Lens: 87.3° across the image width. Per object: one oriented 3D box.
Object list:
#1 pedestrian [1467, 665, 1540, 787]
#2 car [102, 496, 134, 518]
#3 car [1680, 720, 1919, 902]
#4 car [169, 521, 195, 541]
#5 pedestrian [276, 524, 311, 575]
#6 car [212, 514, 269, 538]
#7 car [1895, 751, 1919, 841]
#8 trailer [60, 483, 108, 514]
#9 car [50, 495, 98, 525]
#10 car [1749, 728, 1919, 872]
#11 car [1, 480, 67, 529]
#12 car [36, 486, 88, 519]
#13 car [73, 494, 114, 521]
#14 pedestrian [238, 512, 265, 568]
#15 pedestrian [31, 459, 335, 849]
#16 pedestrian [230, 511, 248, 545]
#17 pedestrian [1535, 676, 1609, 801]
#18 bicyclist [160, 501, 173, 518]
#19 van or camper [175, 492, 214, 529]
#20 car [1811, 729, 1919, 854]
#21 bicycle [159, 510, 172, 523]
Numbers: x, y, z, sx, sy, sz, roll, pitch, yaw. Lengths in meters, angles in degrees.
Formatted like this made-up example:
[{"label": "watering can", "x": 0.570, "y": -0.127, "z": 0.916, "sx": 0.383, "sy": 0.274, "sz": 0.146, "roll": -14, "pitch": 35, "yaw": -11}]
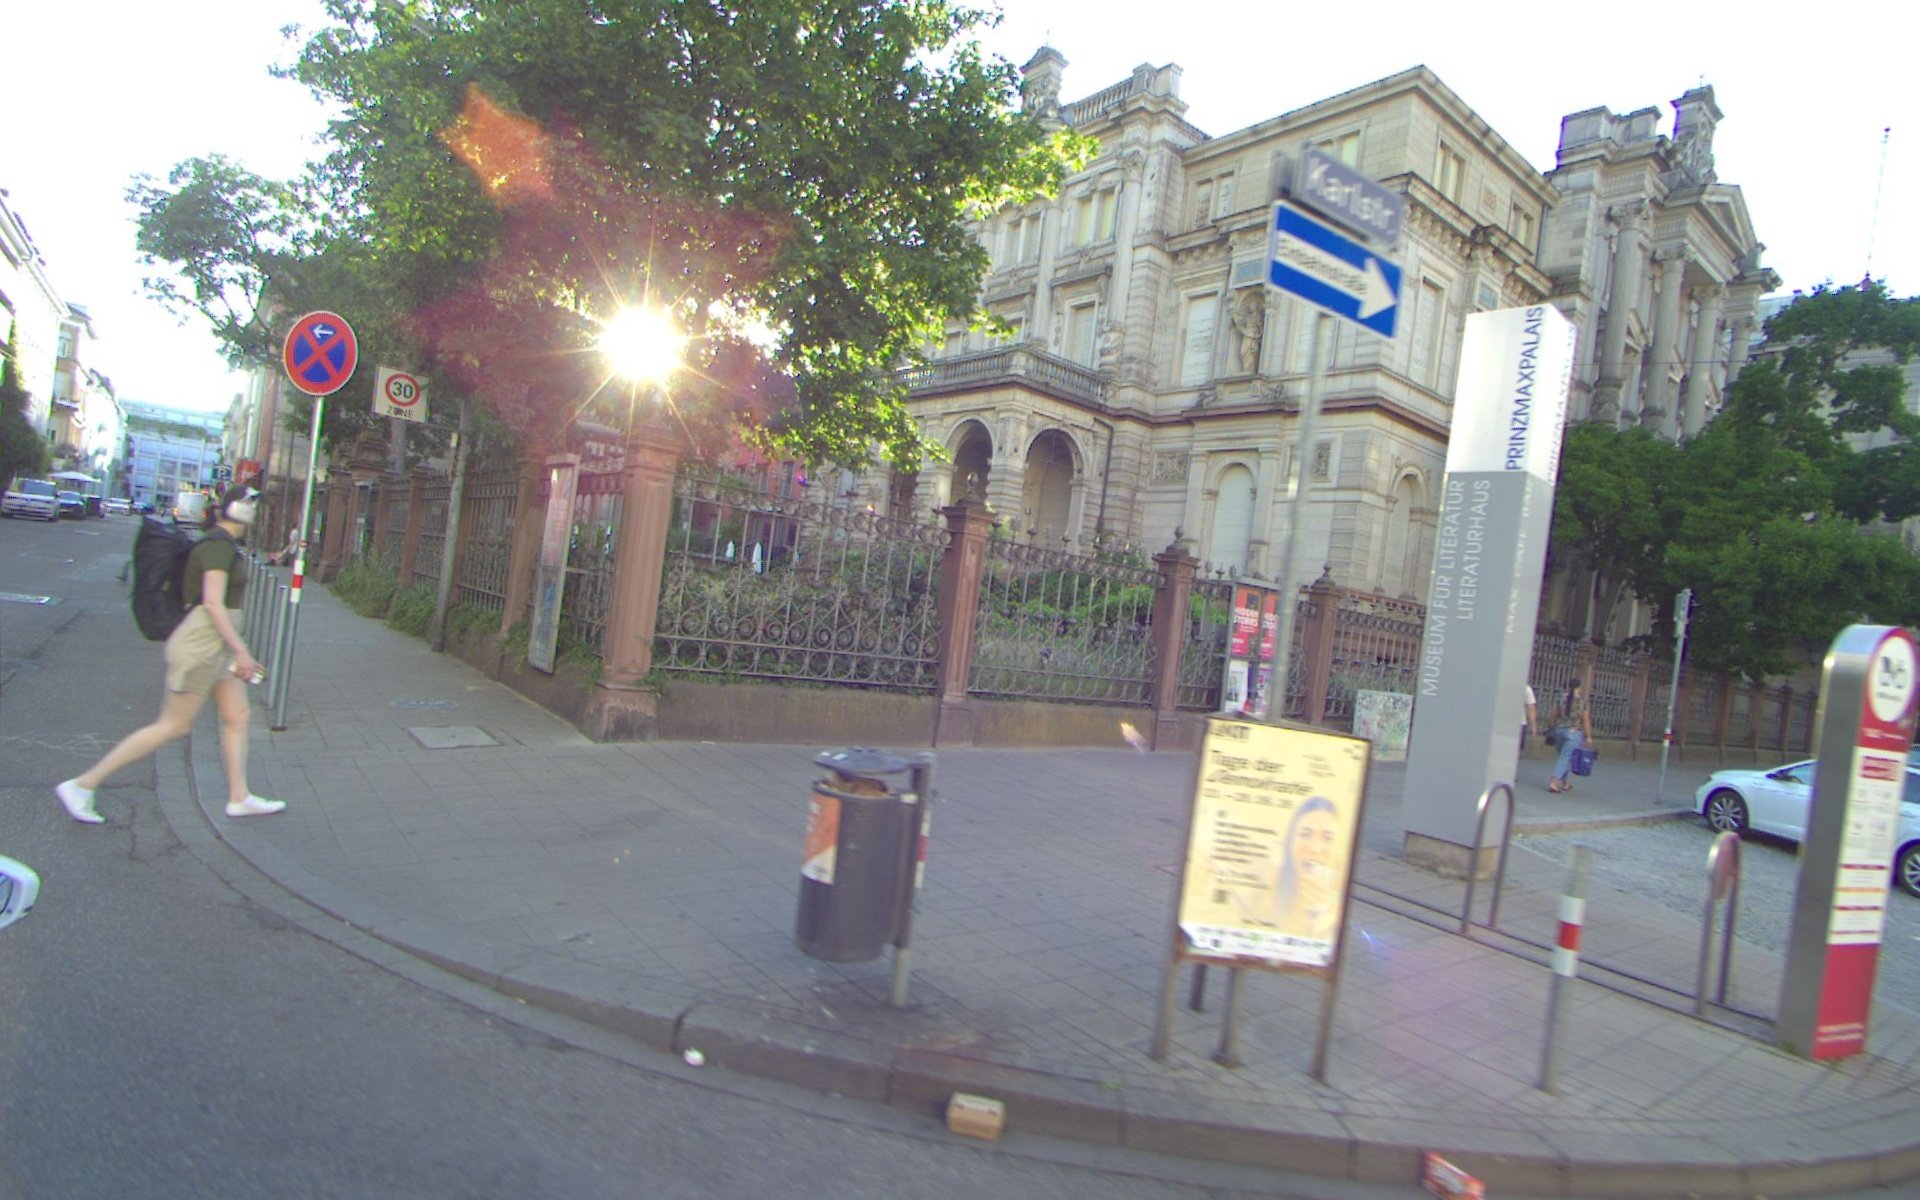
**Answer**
[{"label": "pedestrian", "x": 8.159, "y": 1.887, "z": 15.110, "sx": 0.632, "sy": 1.691, "sz": 0.703, "roll": 10, "pitch": 1, "yaw": 38}, {"label": "car", "x": -79.726, "y": -8.771, "z": 95.273, "sx": 1.984, "sy": 1.703, "sz": 3.959, "roll": 8, "pitch": -2, "yaw": -37}, {"label": "car", "x": 11.593, "y": 2.707, "z": 12.623, "sx": 1.726, "sy": 1.466, "sz": 3.898, "roll": 8, "pitch": 3, "yaw": -10}, {"label": "car", "x": -82.240, "y": -7.314, "z": 106.322, "sx": 1.984, "sy": 1.703, "sz": 3.959, "roll": 8, "pitch": -2, "yaw": -37}, {"label": "pedestrian", "x": -21.258, "y": -1.616, "z": 32.089, "sx": 0.746, "sy": 1.519, "sz": 0.611, "roll": 5, "pitch": 2, "yaw": -43}, {"label": "car", "x": -63.454, "y": -6.519, "z": 88.728, "sx": 3.969, "sy": 1.436, "sz": 1.639, "roll": 9, "pitch": -2, "yaw": -38}, {"label": "car", "x": 18.702, "y": 3.734, "z": 17.238, "sx": 1.722, "sy": 1.626, "sz": 4.004, "roll": 7, "pitch": -2, "yaw": 6}, {"label": "trailer", "x": -56.224, "y": -6.510, "z": 64.614, "sx": 1.985, "sy": 1.575, "sz": 3.957, "roll": 8, "pitch": -2, "yaw": -39}, {"label": "car", "x": -53.794, "y": -5.449, "z": 61.134, "sx": 1.876, "sy": 1.470, "sz": 3.956, "roll": 8, "pitch": -1, "yaw": -39}, {"label": "car", "x": 13.892, "y": 3.023, "z": 14.254, "sx": 1.726, "sy": 1.545, "sz": 3.989, "roll": 8, "pitch": 2, "yaw": -10}, {"label": "car", "x": -44.368, "y": -4.561, "z": 48.278, "sx": 1.876, "sy": 1.935, "sz": 4.695, "roll": 8, "pitch": -1, "yaw": -39}, {"label": "car", "x": -51.053, "y": -5.550, "z": 57.280, "sx": 1.876, "sy": 1.470, "sz": 3.956, "roll": 8, "pitch": -1, "yaw": -39}, {"label": "car", "x": -58.896, "y": -6.274, "z": 68.418, "sx": 1.876, "sy": 1.470, "sz": 3.956, "roll": 8, "pitch": -1, "yaw": -39}, {"label": "pedestrian", "x": -22.269, "y": -1.883, "z": 31.612, "sx": 0.482, "sy": 1.679, "sz": 0.611, "roll": 5, "pitch": 2, "yaw": -45}, {"label": "pedestrian", "x": -3.867, "y": 0.266, "z": 5.073, "sx": 0.830, "sy": 1.744, "sz": 0.637, "roll": 8, "pitch": 0, "yaw": -4}, {"label": "pedestrian", "x": -38.305, "y": -3.829, "z": 53.462, "sx": 0.658, "sy": 1.687, "sz": 0.617, "roll": 5, "pitch": 2, "yaw": -38}, {"label": "pedestrian", "x": 8.997, "y": 2.018, "z": 14.786, "sx": 0.632, "sy": 1.691, "sz": 0.703, "roll": 10, "pitch": 1, "yaw": 38}, {"label": "bicyclist", "x": -93.735, "y": -10.656, "z": 118.843, "sx": 0.985, "sy": 1.891, "sz": 0.701, "roll": 8, "pitch": -1, "yaw": -38}, {"label": "van or camper", "x": -59.553, "y": -6.921, "z": 78.274, "sx": 2.244, "sy": 2.642, "sz": 5.060, "roll": 3, "pitch": 2, "yaw": -37}, {"label": "car", "x": 16.232, "y": 3.293, "z": 15.984, "sx": 1.723, "sy": 1.742, "sz": 3.998, "roll": 8, "pitch": 0, "yaw": -2}, {"label": "bicycle", "x": -93.878, "y": -9.887, "z": 118.882, "sx": 0.970, "sy": 1.295, "sz": 2.726, "roll": 8, "pitch": -1, "yaw": -37}]
